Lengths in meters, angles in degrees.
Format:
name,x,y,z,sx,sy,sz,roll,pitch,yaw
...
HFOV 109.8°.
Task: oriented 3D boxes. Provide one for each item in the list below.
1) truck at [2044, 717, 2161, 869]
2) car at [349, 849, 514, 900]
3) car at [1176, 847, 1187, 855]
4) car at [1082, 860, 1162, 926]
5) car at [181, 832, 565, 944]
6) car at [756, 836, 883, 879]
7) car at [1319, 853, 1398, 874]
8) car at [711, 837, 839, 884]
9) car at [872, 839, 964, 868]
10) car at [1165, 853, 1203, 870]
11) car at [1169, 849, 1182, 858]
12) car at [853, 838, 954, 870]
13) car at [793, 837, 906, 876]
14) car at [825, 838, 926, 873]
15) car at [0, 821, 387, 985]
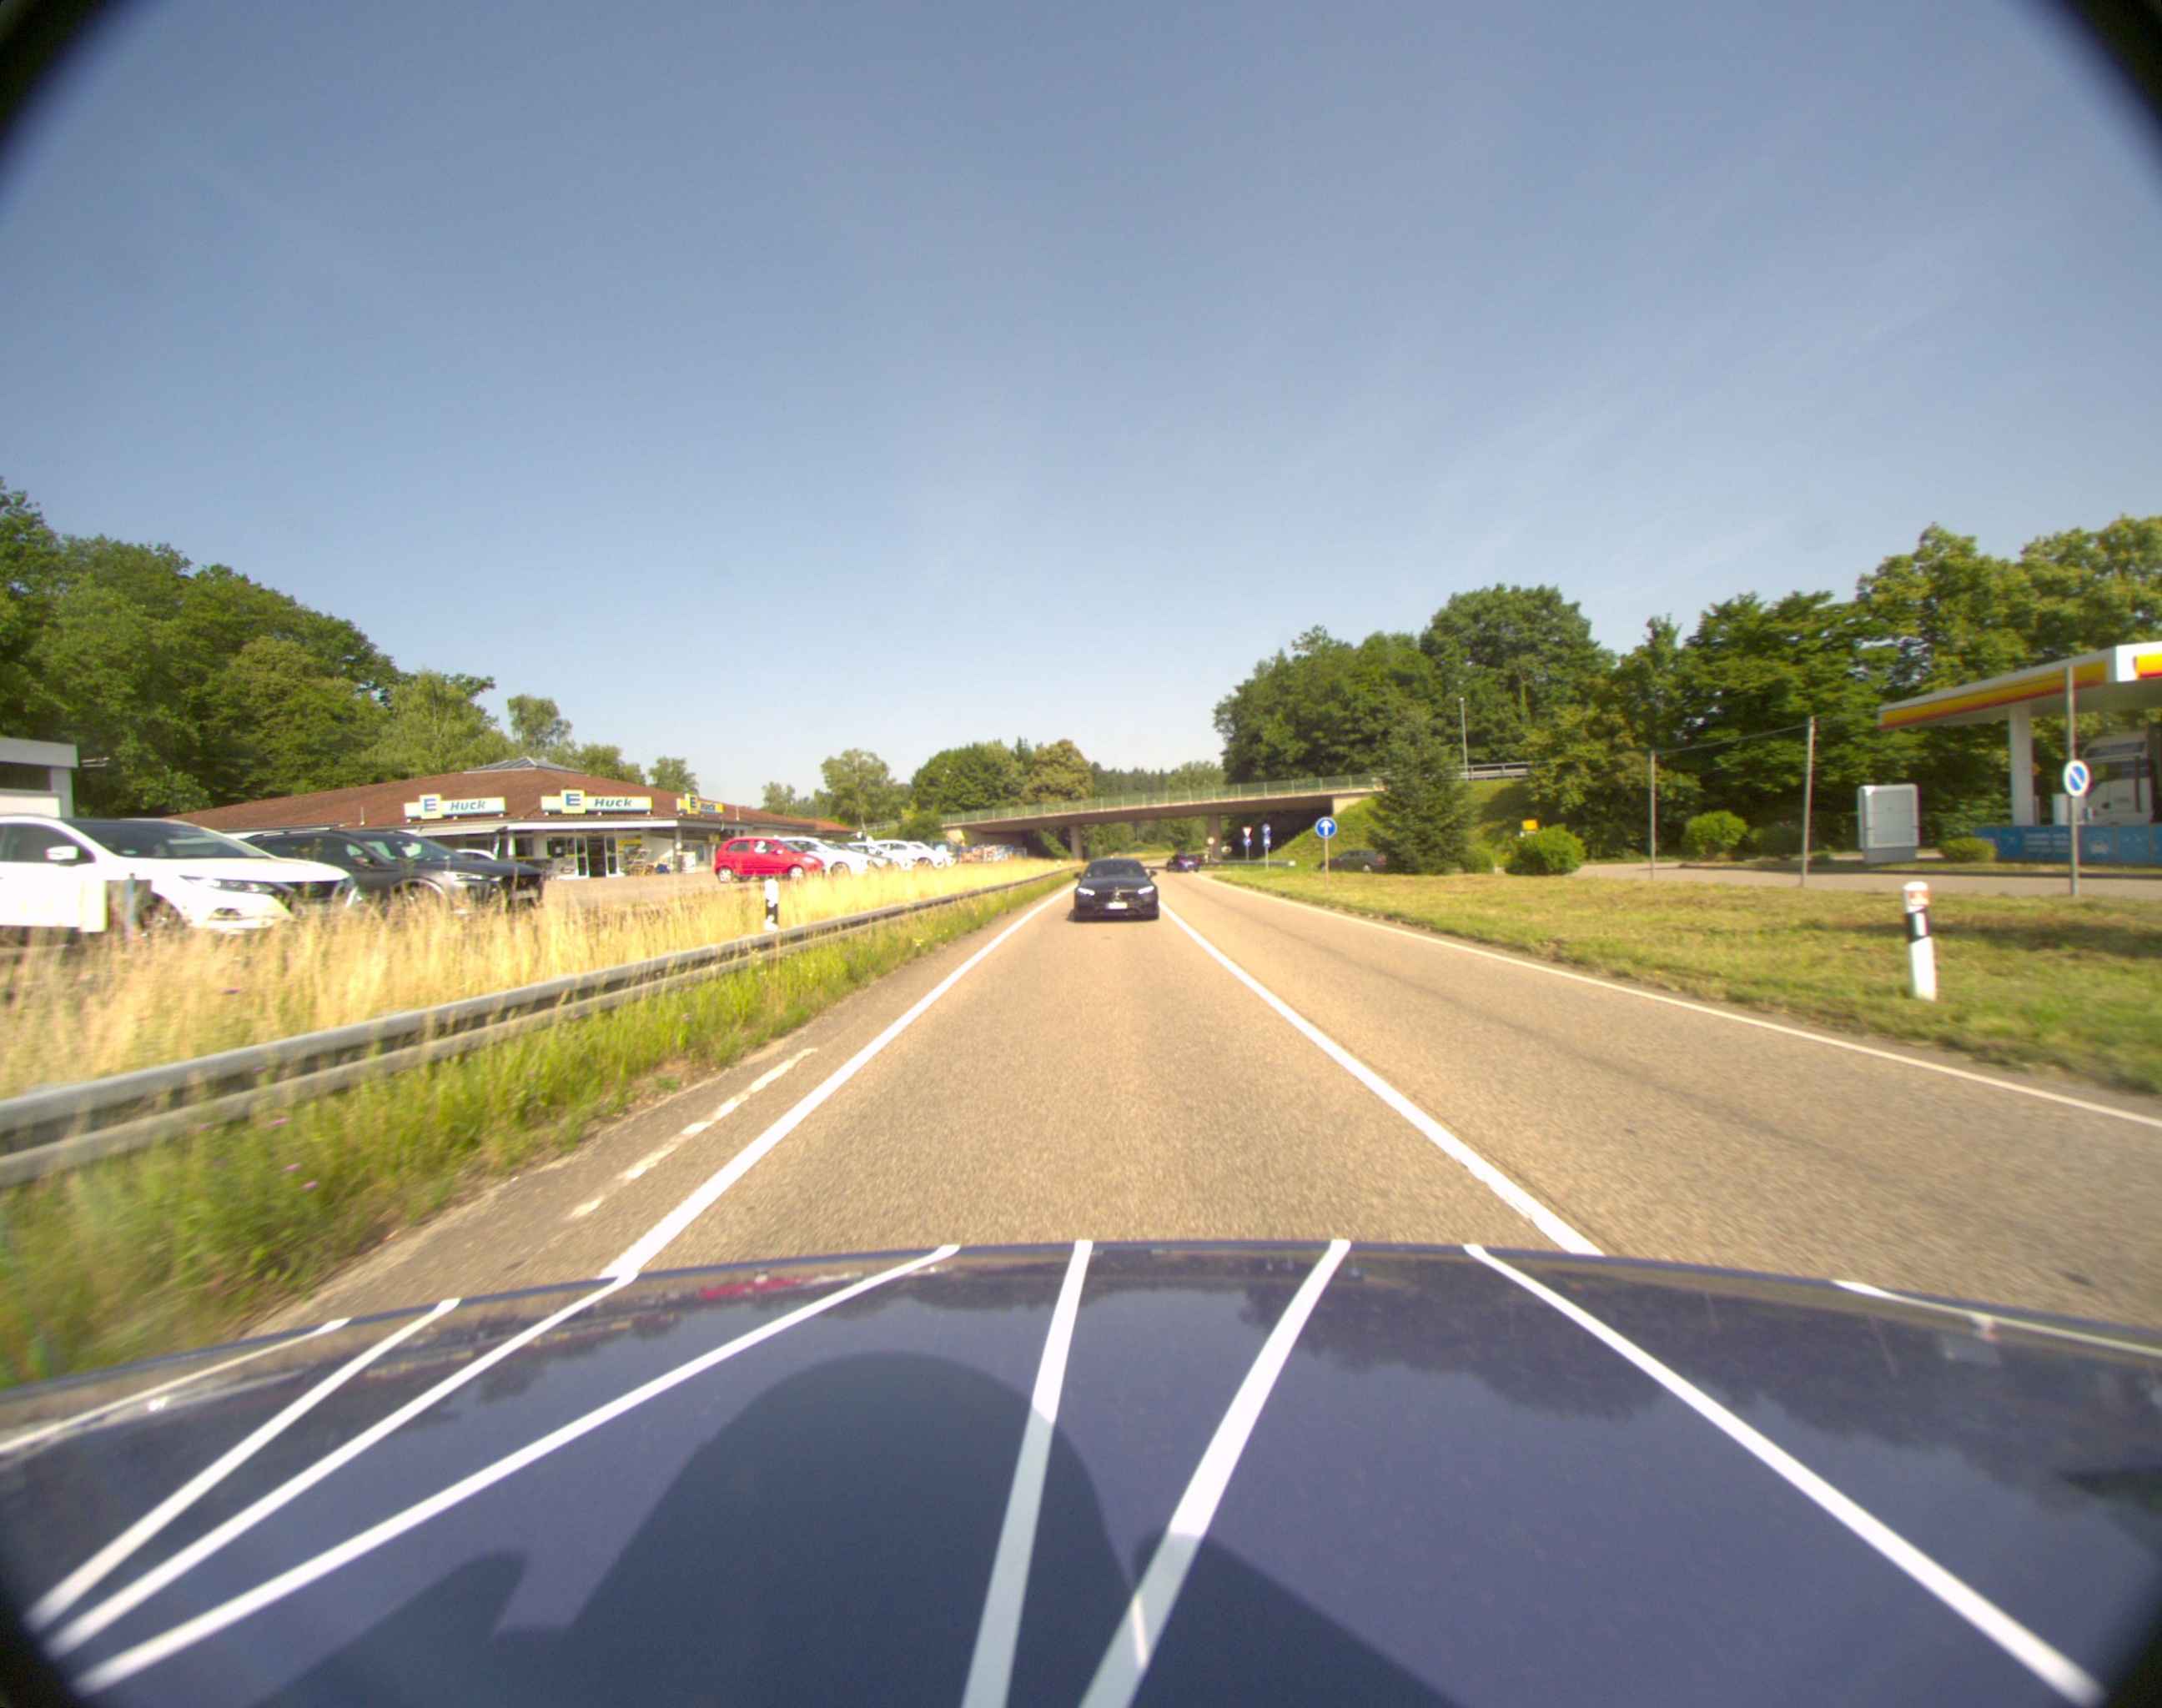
name,x,y,z,sx,sy,sz,roll,pitch,yaw
truck,29.370,-1.603,15.326,3.057,4.110,16.789,-2,1,16
car,-20.644,0.585,24.400,1.803,1.456,3.990,-1,1,1
car,17.640,-0.477,133.643,1.681,1.348,3.923,-1,0,5
car,0.931,0.869,18.628,1.716,1.382,4.147,-1,0,1
car,-10.400,0.467,11.403,3.996,1.456,1.877,-1,1,2
car,-9.612,0.120,28.123,3.996,1.456,1.877,-1,1,2
car,16.559,0.559,45.493,1.813,1.165,4.089,-1,0,-38
car,-10.241,0.207,25.606,3.546,1.456,1.805,-1,1,2
car,-8.936,-0.050,41.902,4.571,1.456,1.877,-1,1,2
car,8.181,0.584,60.775,1.683,1.348,3.918,-1,0,-13
car,13.497,-0.080,109.123,1.681,1.348,3.923,-1,0,5
car,-8.891,-0.011,38.365,4.571,1.456,1.877,-1,1,2
car,-9.398,0.079,31.104,3.996,1.456,1.877,-1,1,2
car,-9.283,0.039,34.520,3.996,1.456,1.877,-1,1,2
car,-10.398,0.489,8.276,3.996,1.543,1.806,-1,1,2
